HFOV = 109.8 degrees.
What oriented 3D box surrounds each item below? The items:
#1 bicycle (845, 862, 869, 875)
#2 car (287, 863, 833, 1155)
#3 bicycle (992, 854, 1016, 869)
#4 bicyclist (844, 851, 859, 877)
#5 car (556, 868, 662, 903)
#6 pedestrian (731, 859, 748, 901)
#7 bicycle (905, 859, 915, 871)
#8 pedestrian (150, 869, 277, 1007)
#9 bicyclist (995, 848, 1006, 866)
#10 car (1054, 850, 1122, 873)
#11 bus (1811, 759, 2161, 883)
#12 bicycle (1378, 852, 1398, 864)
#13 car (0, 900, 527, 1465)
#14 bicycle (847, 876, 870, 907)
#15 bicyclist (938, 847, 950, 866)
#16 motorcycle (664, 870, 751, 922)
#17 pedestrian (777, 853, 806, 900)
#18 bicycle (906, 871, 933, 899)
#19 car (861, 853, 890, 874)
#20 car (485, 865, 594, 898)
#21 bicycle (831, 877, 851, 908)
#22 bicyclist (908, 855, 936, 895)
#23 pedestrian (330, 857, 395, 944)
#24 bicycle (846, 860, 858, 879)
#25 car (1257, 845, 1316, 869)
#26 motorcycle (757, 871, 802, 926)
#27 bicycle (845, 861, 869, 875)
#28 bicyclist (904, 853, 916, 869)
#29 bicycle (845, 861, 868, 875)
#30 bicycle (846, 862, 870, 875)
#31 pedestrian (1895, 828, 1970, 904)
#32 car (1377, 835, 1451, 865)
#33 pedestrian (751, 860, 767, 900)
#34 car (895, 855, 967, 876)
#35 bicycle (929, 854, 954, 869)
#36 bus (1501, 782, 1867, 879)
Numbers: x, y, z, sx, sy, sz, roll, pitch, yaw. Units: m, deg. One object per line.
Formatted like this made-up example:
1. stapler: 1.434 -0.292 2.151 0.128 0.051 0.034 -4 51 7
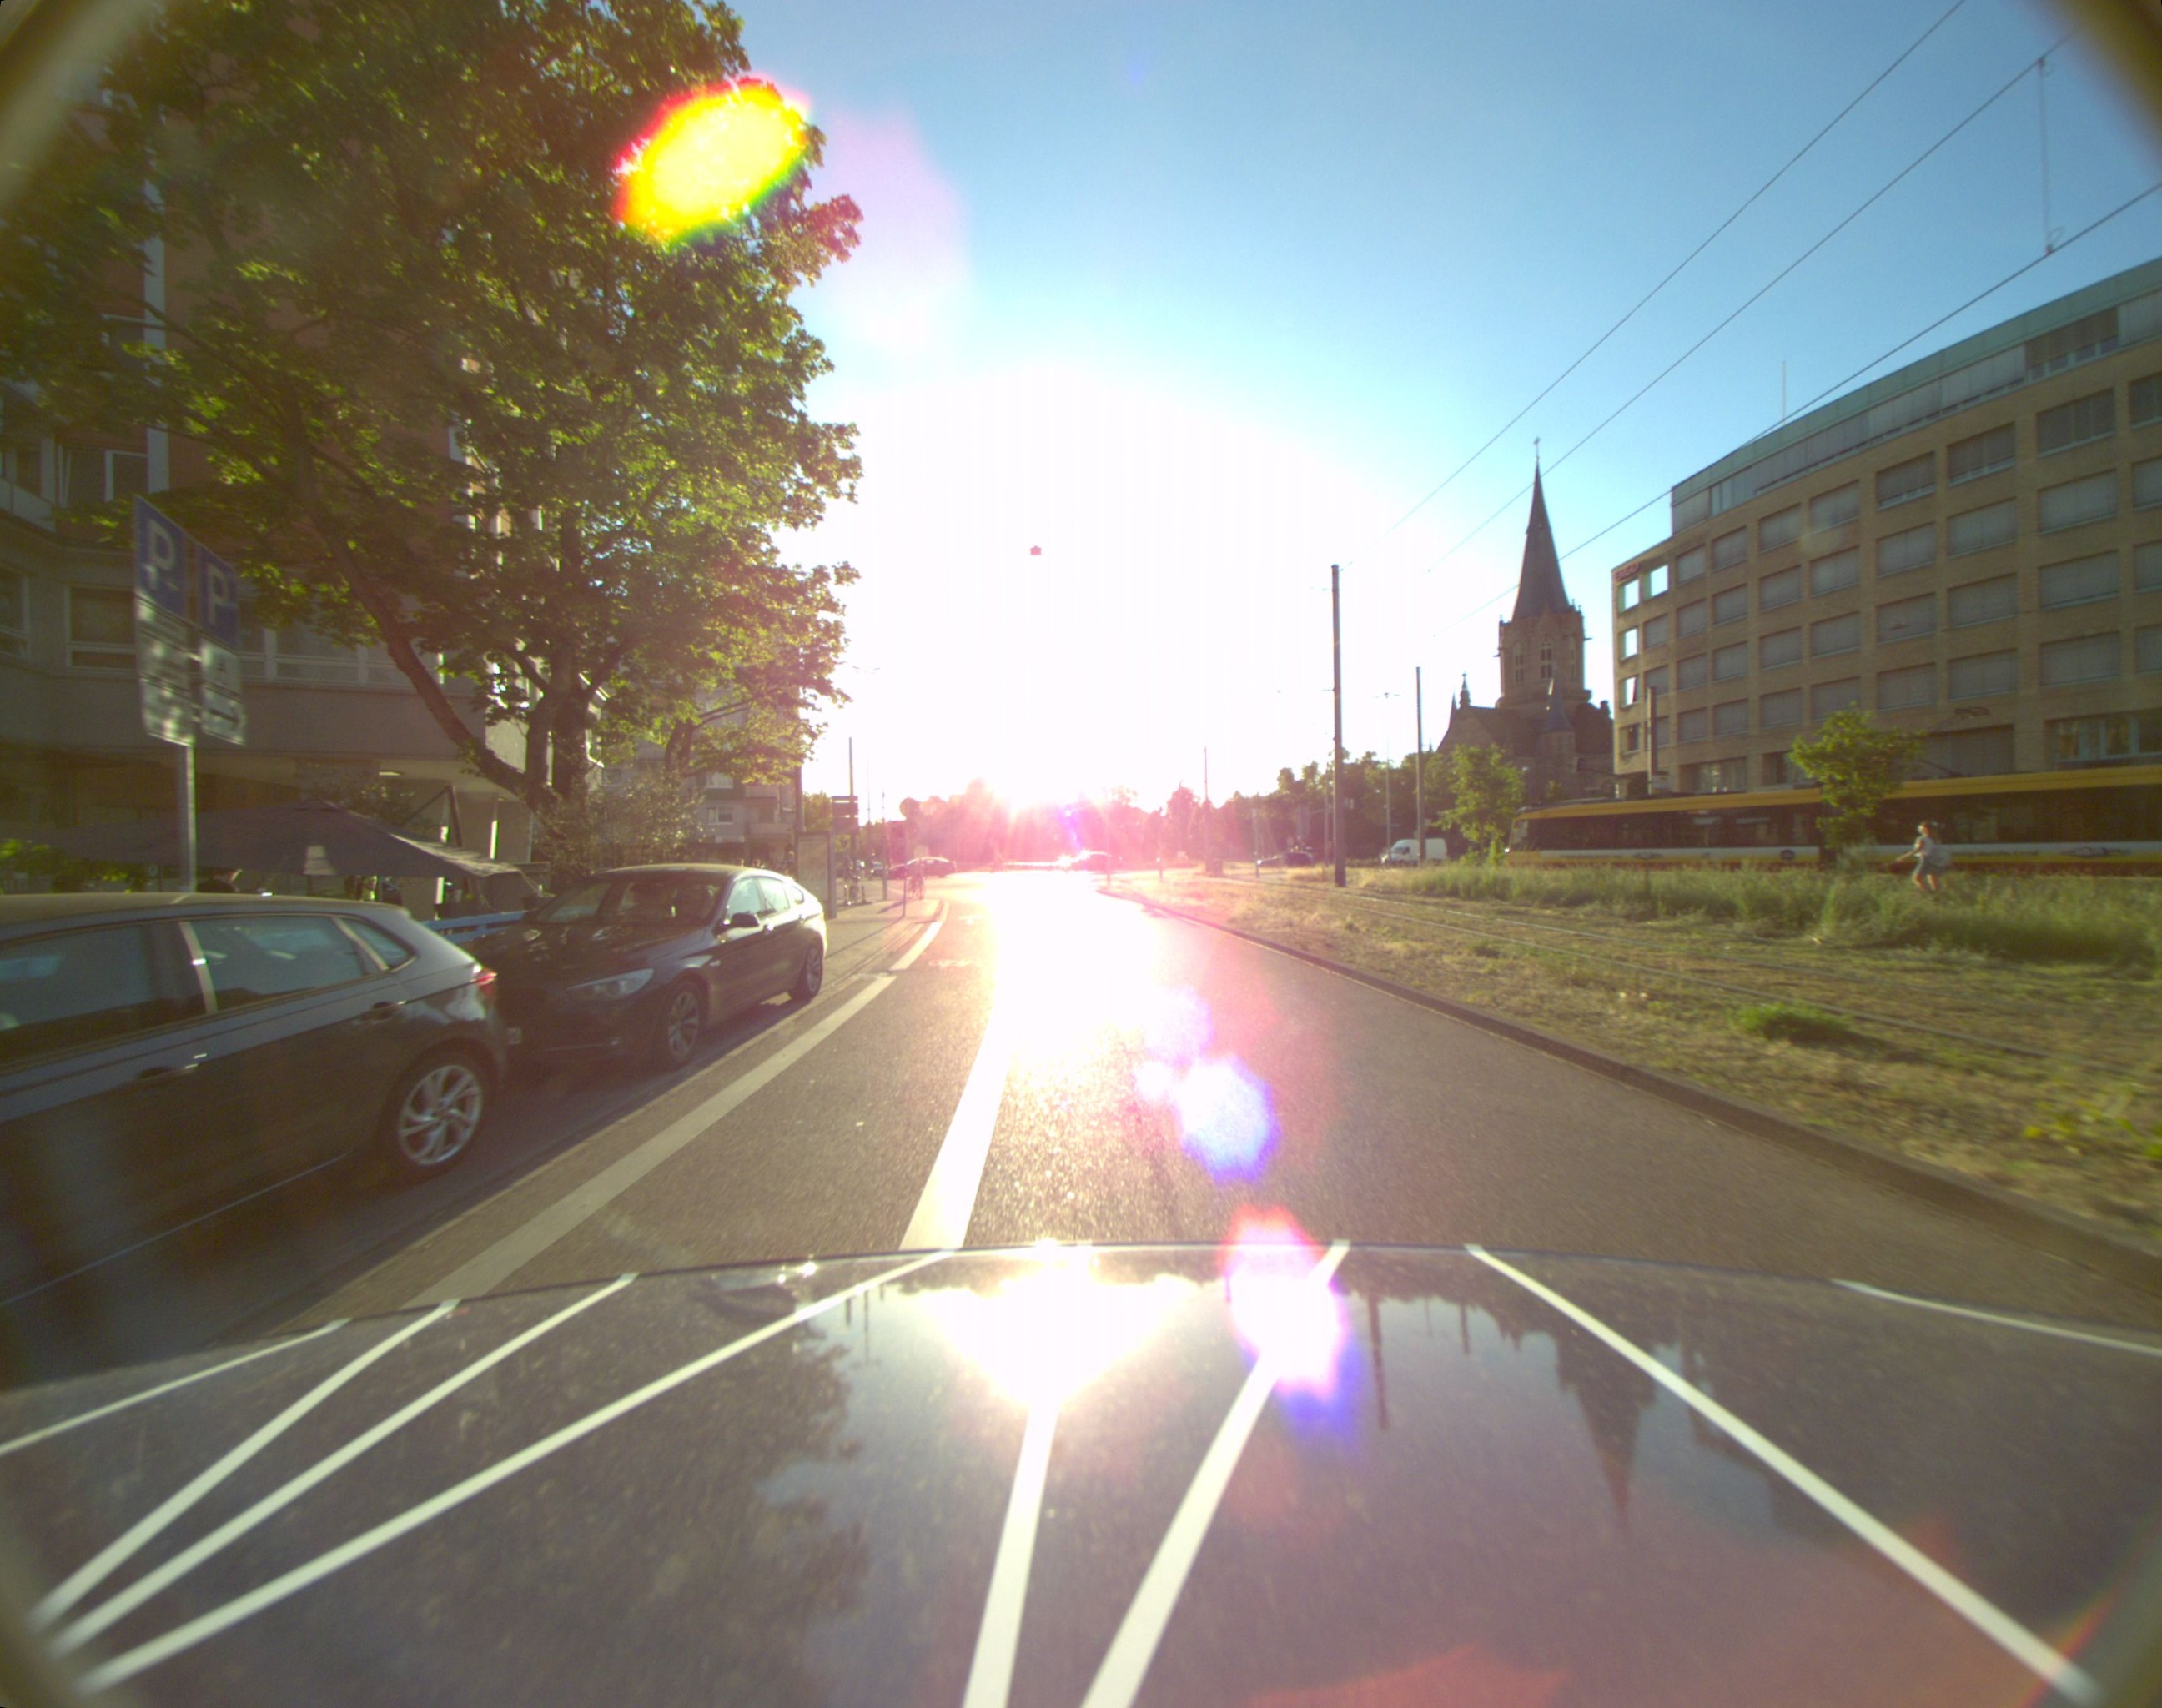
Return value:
1. bicycle: -19.889 1.275 67.563 1.959 1.114 0.457 -2 1 -19
2. car: -3.966 0.978 7.065 1.809 1.660 4.812 -2 0 -2
3. bicycle: -6.563 0.624 64.704 1.973 1.175 0.490 -1 0 -18
4. bicyclist: -14.536 0.634 48.164 0.824 1.559 0.732 -2 1 -20
5. car: -23.707 1.541 38.338 4.194 1.418 1.928 -3 3 -22
6. pedestrian: -13.971 1.056 31.128 0.519 1.683 0.771 -1 1 -18
7. bicycle: -16.616 1.074 73.715 0.576 1.193 2.202 -2 0 -21
8. pedestrian: -11.469 1.062 10.088 0.895 1.716 0.772 -1 0 -29
9. bicyclist: -6.884 0.254 64.609 0.734 1.559 0.822 -2 1 -17
10. car: 0.491 0.526 57.429 5.024 1.499 1.724 -2 0 -3
11. bus: 29.763 -0.911 22.747 3.765 3.312 10.716 -2 0 -24
12. bicycle: 31.311 0.378 77.509 1.973 1.175 0.490 -2 1 -18
13. car: -4.020 1.058 2.287 1.654 1.525 4.066 -2 0 0
14. bicycle: -7.720 1.273 26.335 0.361 1.021 1.790 -3 0 -28
15. bicyclist: -11.559 0.235 64.073 0.734 1.559 0.821 -2 1 -21
16. motorcycle: -10.724 1.187 21.897 2.150 1.346 0.642 -2 1 -23
17. pedestrian: -12.142 0.920 31.867 0.700 1.946 0.849 -1 1 26
18. bicycle: -6.256 1.193 29.404 0.516 1.021 1.790 -3 0 -29
19. car: -20.219 0.934 74.624 2.002 2.002 3.992 -2 0 -26
20. car: -28.712 1.452 40.461 4.245 1.460 1.997 -2 2 -16
21. bicycle: -8.215 1.300 26.017 0.361 1.021 1.791 -3 0 -26
22. bicyclist: -6.102 0.808 29.156 0.799 1.472 0.805 -3 1 -29
23. pedestrian: -14.877 0.940 15.749 0.656 1.715 0.875 -3 1 -24
24. bicycle: -14.464 0.973 47.961 0.491 1.175 1.968 -2 0 -21
25. car: 14.866 0.212 54.871 3.992 1.533 2.002 -2 0 16
26. motorcycle: -8.057 1.153 20.390 0.643 1.336 2.200 -2 0 -10
27. bicycle: -20.130 1.259 68.345 1.959 1.114 0.457 -2 1 -19
28. bicyclist: -16.552 0.667 73.585 0.997 1.529 0.921 -2 1 -22
29. bicycle: -20.305 1.266 68.831 1.959 1.114 0.457 -2 1 -19
30. bicycle: -19.646 1.278 66.993 1.959 1.114 0.457 -2 1 -19
31. pedestrian: 16.983 0.239 15.168 0.672 1.450 0.699 -2 1 -3
32. car: 33.258 -0.416 75.855 7.209 2.861 2.305 -1 0 -21
33. pedestrian: -13.296 1.063 31.390 0.519 1.635 0.706 -2 1 -18
34. car: -10.862 0.826 55.075 5.045 1.428 1.876 0 1 -14
35. bicycle: -11.742 0.603 63.979 1.973 1.175 0.489 -2 1 -21
36. bus: 25.154 -0.822 33.147 3.765 3.435 12.109 -2 0 -23
